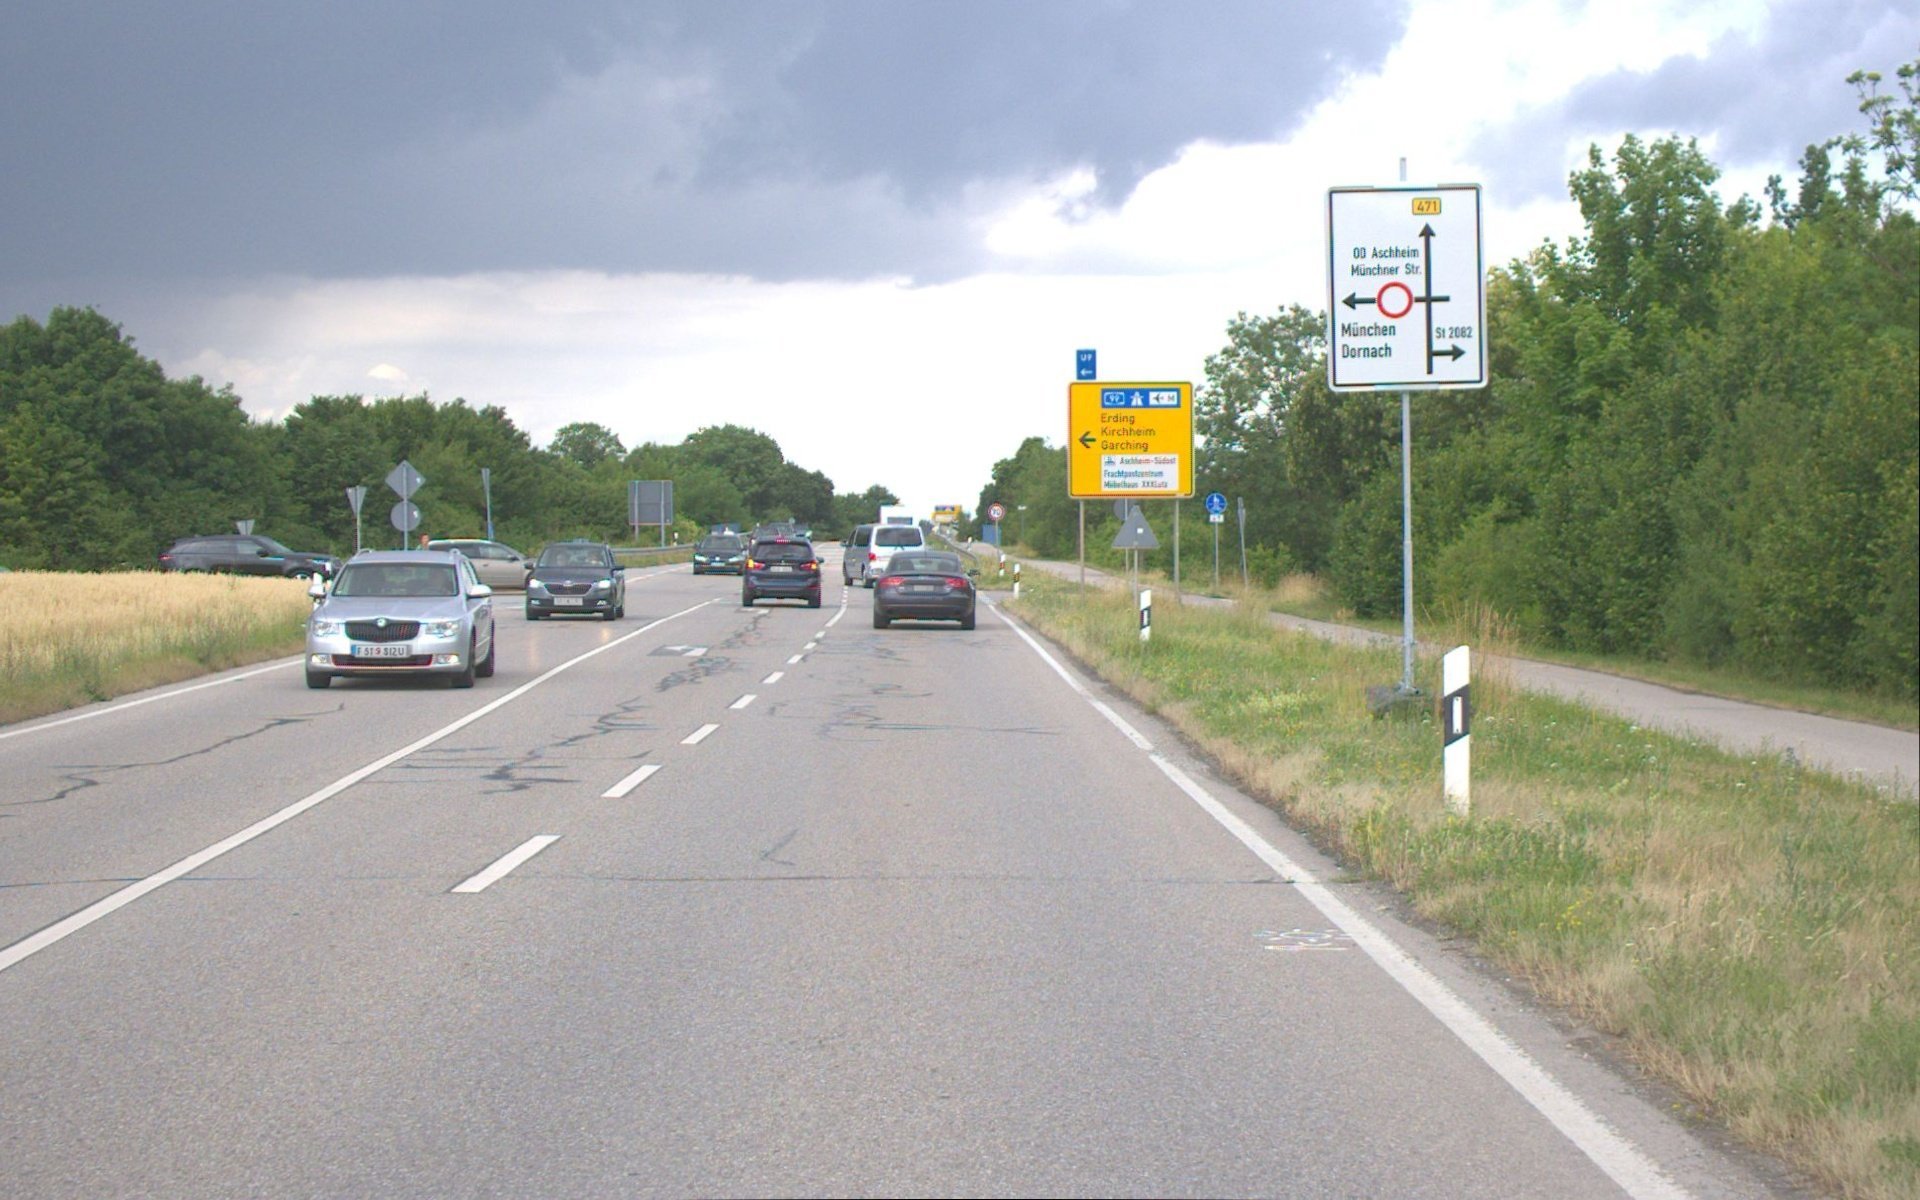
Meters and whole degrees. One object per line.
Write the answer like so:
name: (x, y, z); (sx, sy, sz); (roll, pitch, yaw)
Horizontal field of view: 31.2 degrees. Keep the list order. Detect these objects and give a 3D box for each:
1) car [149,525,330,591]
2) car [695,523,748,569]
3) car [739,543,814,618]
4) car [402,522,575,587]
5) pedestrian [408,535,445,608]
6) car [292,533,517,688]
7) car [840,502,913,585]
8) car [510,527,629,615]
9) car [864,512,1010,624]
car: (-18.637, -1.093, 89.095); (4.412, 1.643, 1.502); (-1, 1, -4)
car: (-8.495, -1.940, 122.566); (1.646, 1.585, 4.000); (-1, 1, -1)
car: (-4.223, -0.472, 79.571); (1.571, 1.695, 4.000); (0, 1, -1)
car: (-12.316, -1.205, 90.002); (4.412, 1.643, 1.502); (-1, 1, -5)
pedestrian: (-11.502, -0.623, 74.118); (0.367, 1.570, 0.702); (0, 1, 35)
car: (-6.099, 0.063, 38.253); (1.767, 1.596, 4.931); (0, 1, -1)
car: (-2.574, -1.735, 105.311); (1.998, 2.443, 4.853); (-1, 1, -4)
car: (-7.425, -0.570, 65.670); (1.853, 1.624, 4.000); (0, 1, -1)
car: (-0.460, -0.596, 62.544); (2.371, 1.874, 4.478); (-2, 1, -3)
